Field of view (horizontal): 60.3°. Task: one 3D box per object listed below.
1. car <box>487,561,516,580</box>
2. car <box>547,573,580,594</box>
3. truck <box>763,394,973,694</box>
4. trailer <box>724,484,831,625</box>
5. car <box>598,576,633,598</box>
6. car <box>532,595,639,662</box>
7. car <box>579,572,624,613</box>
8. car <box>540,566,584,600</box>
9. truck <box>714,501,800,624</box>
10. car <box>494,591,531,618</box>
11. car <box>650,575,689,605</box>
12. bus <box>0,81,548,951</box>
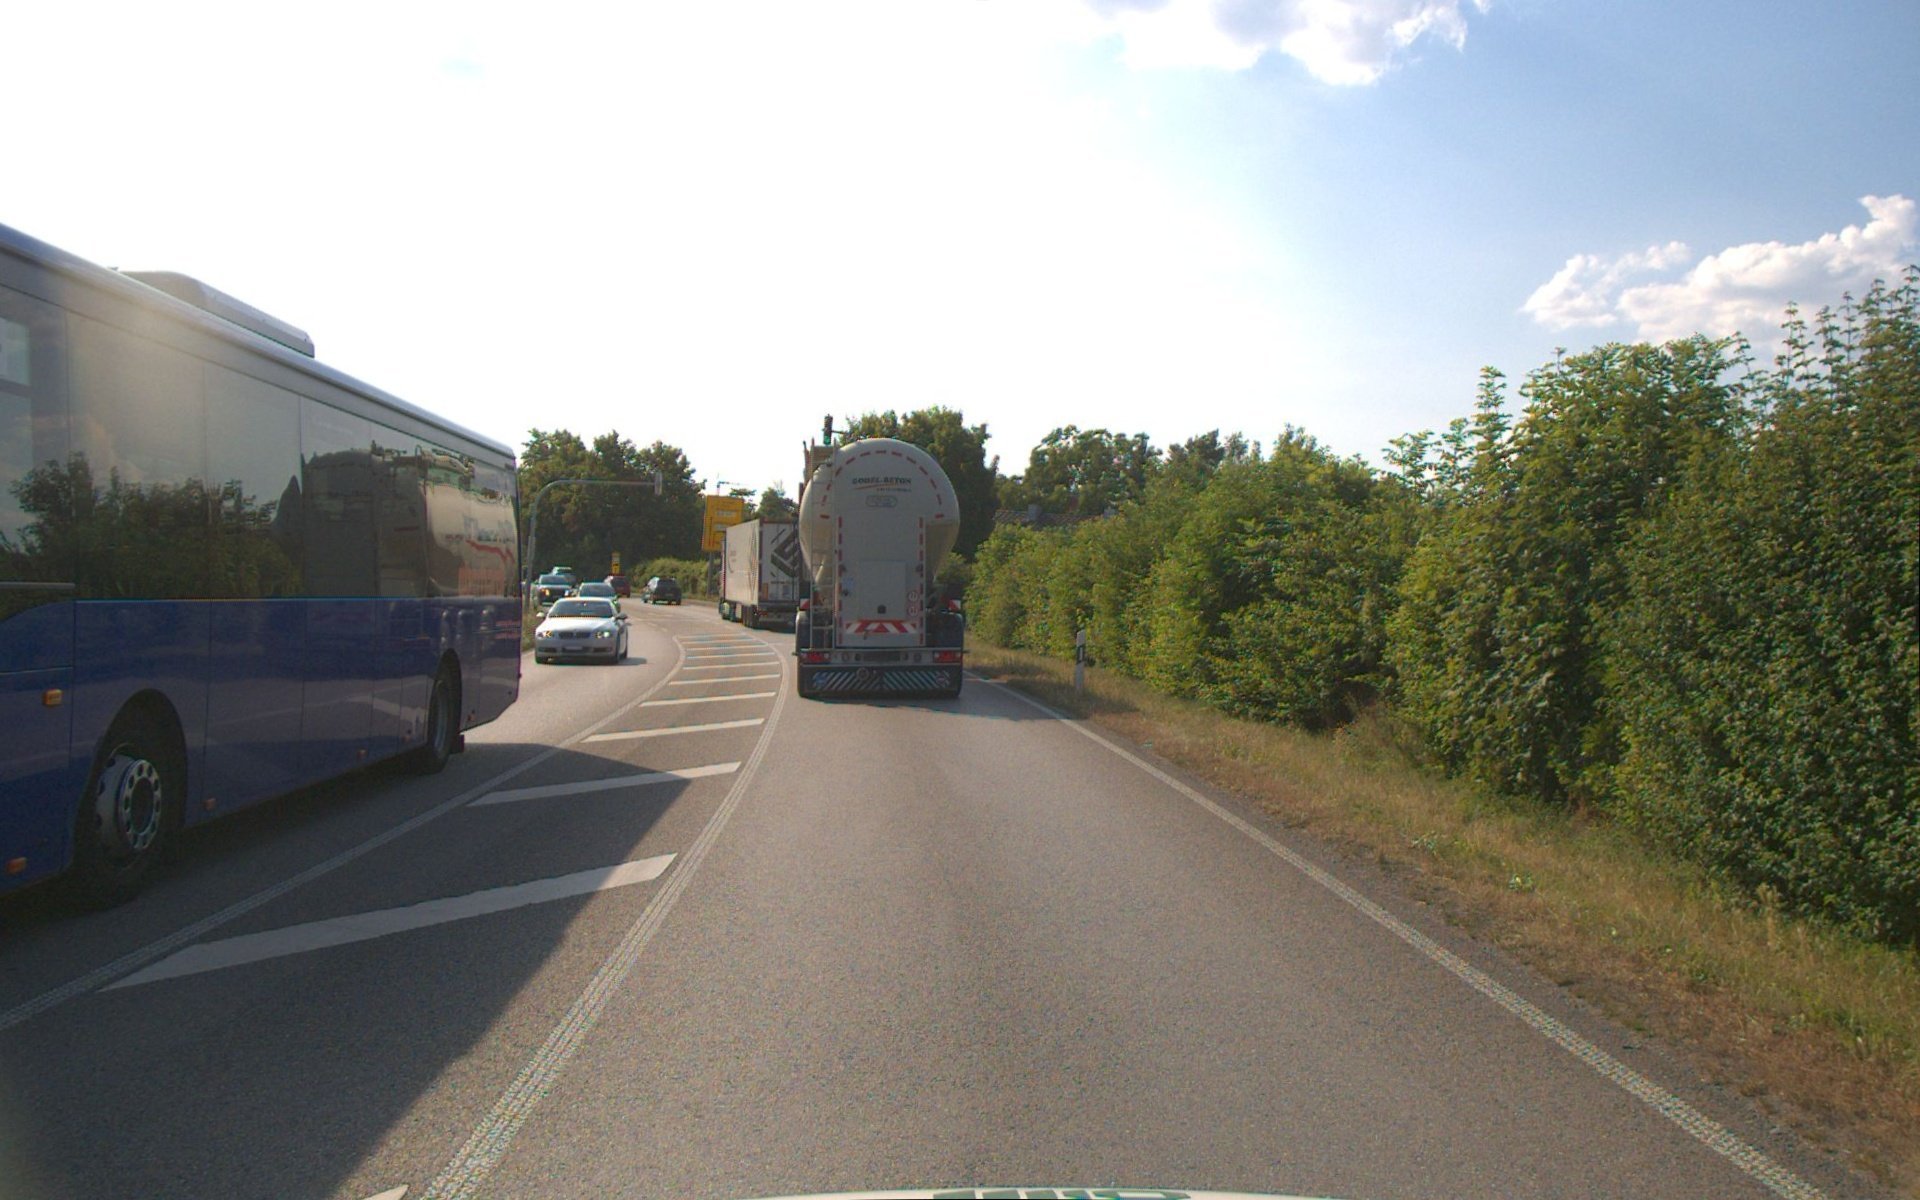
[{"bbox_3d":[-41.558,-2.700,149.814,1.858,1.627,3.969,2,0,-25],"label":"car"},{"bbox_3d":[-33.499,-1.383,139.569,1.819,1.685,3.964,2,-1,-27],"label":"car"},{"bbox_3d":[-1.652,-0.714,29.723,2.917,4.248,11.653,2,-1,-3],"label":"truck"},{"bbox_3d":[-7.290,-1.587,64.615,2.913,4.967,10.253,2,-1,-13],"label":"trailer"},{"bbox_3d":[-24.191,-0.889,116.121,1.661,1.493,3.972,2,-1,-23],"label":"car"},{"bbox_3d":[-8.168,0.611,36.448,1.666,1.357,4.744,1,0,-5],"label":"car"},{"bbox_3d":[-14.538,-0.282,67.069,1.665,1.580,4.139,2,-1,-12],"label":"car"},{"bbox_3d":[-21.644,-0.936,90.106,1.957,1.755,4.417,2,1,-9],"label":"car"},{"bbox_3d":[-8.824,-1.508,71.456,2.912,4.972,6.408,2,-1,-13],"label":"truck"},{"bbox_3d":[-29.504,0.291,109.014,1.816,1.685,3.971,2,-1,-23],"label":"car"},{"bbox_3d":[-17.582,-0.570,99.927,1.960,1.685,3.984,2,-1,-15],"label":"car"},{"bbox_3d":[-5.308,-0.259,11.160,2.739,3.237,12.115,2,-1,-4],"label":"bus"}]
